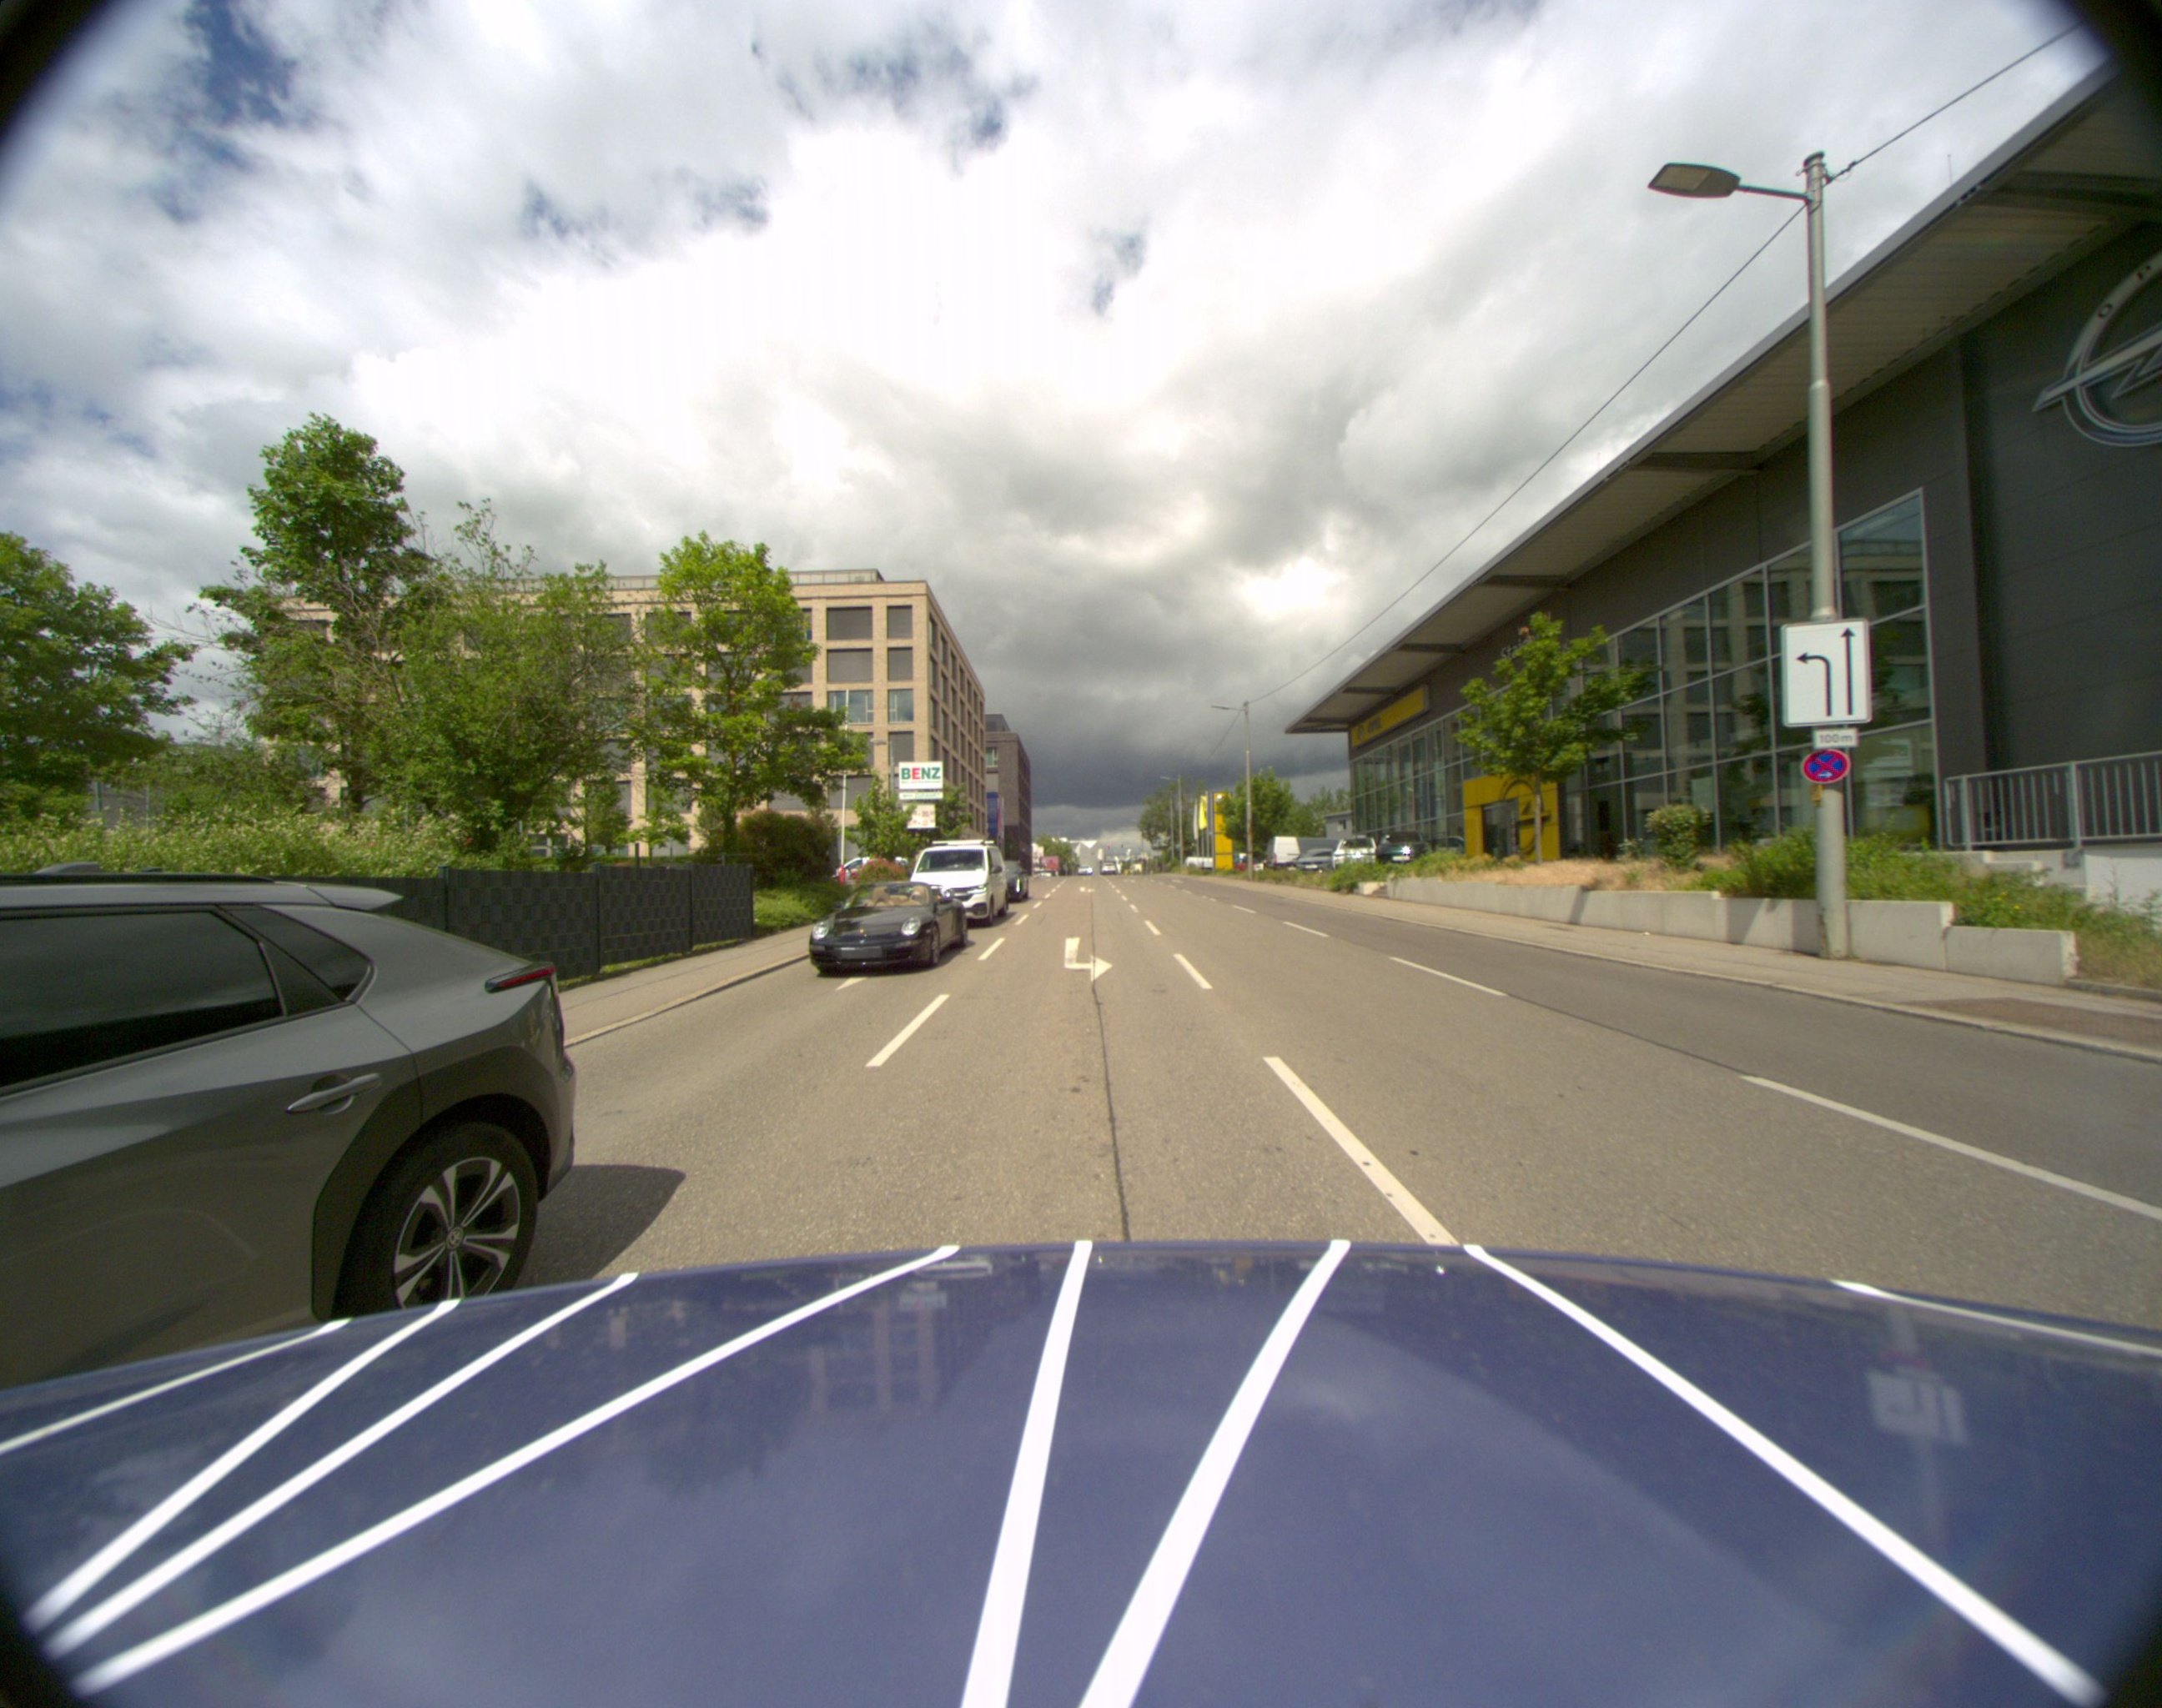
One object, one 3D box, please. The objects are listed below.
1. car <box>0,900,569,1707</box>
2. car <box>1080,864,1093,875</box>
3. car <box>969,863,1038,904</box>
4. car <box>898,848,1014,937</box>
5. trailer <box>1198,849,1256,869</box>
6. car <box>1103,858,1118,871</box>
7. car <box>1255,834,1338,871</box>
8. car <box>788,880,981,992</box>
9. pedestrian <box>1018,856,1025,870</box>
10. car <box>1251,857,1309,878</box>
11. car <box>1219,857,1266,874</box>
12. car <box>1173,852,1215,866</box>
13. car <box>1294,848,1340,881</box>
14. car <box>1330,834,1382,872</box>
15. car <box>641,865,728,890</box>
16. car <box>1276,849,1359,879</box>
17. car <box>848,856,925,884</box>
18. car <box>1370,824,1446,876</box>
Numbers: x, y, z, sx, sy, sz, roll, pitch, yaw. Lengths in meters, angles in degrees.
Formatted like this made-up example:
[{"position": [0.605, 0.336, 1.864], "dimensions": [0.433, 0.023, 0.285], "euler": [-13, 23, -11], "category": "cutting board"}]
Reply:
[{"position": [-2.996, 1.017, 0.579], "dimensions": [1.924, 1.604, 4.683], "euler": [-3, 0, 1], "category": "car"}, {"position": [0.808, 2.194, 108.326], "dimensions": [1.866, 1.398, 4.000], "euler": [-1, 0, 1], "category": "car"}, {"position": [-2.770, 1.042, 28.197], "dimensions": [1.777, 1.267, 4.569], "euler": [-1, 0, 4], "category": "car"}, {"position": [-2.907, 0.838, 18.723], "dimensions": [1.964, 1.840, 4.645], "euler": [-3, 0, 1], "category": "car"}, {"position": [13.155, 0.447, 68.680], "dimensions": [4.835, 1.742, 2.095], "euler": [-1, 0, -3], "category": "trailer"}, {"position": [4.004, 1.435, 102.785], "dimensions": [1.924, 1.604, 4.415], "euler": [-1, 0, 1], "category": "car"}, {"position": [13.511, -0.116, 47.851], "dimensions": [4.532, 2.182, 2.179], "euler": [-1, 1, -2], "category": "car"}, {"position": [-2.906, 1.163, 12.344], "dimensions": [1.777, 1.267, 4.569], "euler": [-3, 0, 2], "category": "car"}, {"position": [-6.285, 0.926, 80.329], "dimensions": [0.578, 1.497, 0.542], "euler": [-1, 1, 1], "category": "pedestrian"}, {"position": [14.969, 1.011, 57.285], "dimensions": [3.946, 1.518, 1.561], "euler": [-1, 0, -2], "category": "car"}, {"position": [13.714, 0.971, 64.795], "dimensions": [3.669, 1.401, 1.815], "euler": [-1, 0, 2], "category": "car"}, {"position": [12.522, 0.549, 84.399], "dimensions": [4.252, 1.473, 2.095], "euler": [-1, 0, -2], "category": "car"}, {"position": [12.160, 0.528, 38.994], "dimensions": [1.794, 1.604, 4.116], "euler": [-1, 0, 24], "category": "car"}, {"position": [12.210, -0.057, 33.612], "dimensions": [1.793, 1.604, 4.115], "euler": [-1, 1, 25], "category": "car"}, {"position": [-23.371, 1.376, 44.861], "dimensions": [4.219, 1.410, 1.735], "euler": [-1, 0, -1], "category": "car"}, {"position": [13.342, 0.564, 43.012], "dimensions": [4.108, 1.604, 1.797], "euler": [-1, 0, -8], "category": "car"}, {"position": [-11.604, 0.955, 45.477], "dimensions": [4.220, 1.567, 1.735], "euler": [-1, 0, -4], "category": "car"}, {"position": [12.404, -0.118, 28.686], "dimensions": [1.818, 1.602, 4.117], "euler": [-9, -5, 32], "category": "car"}]
